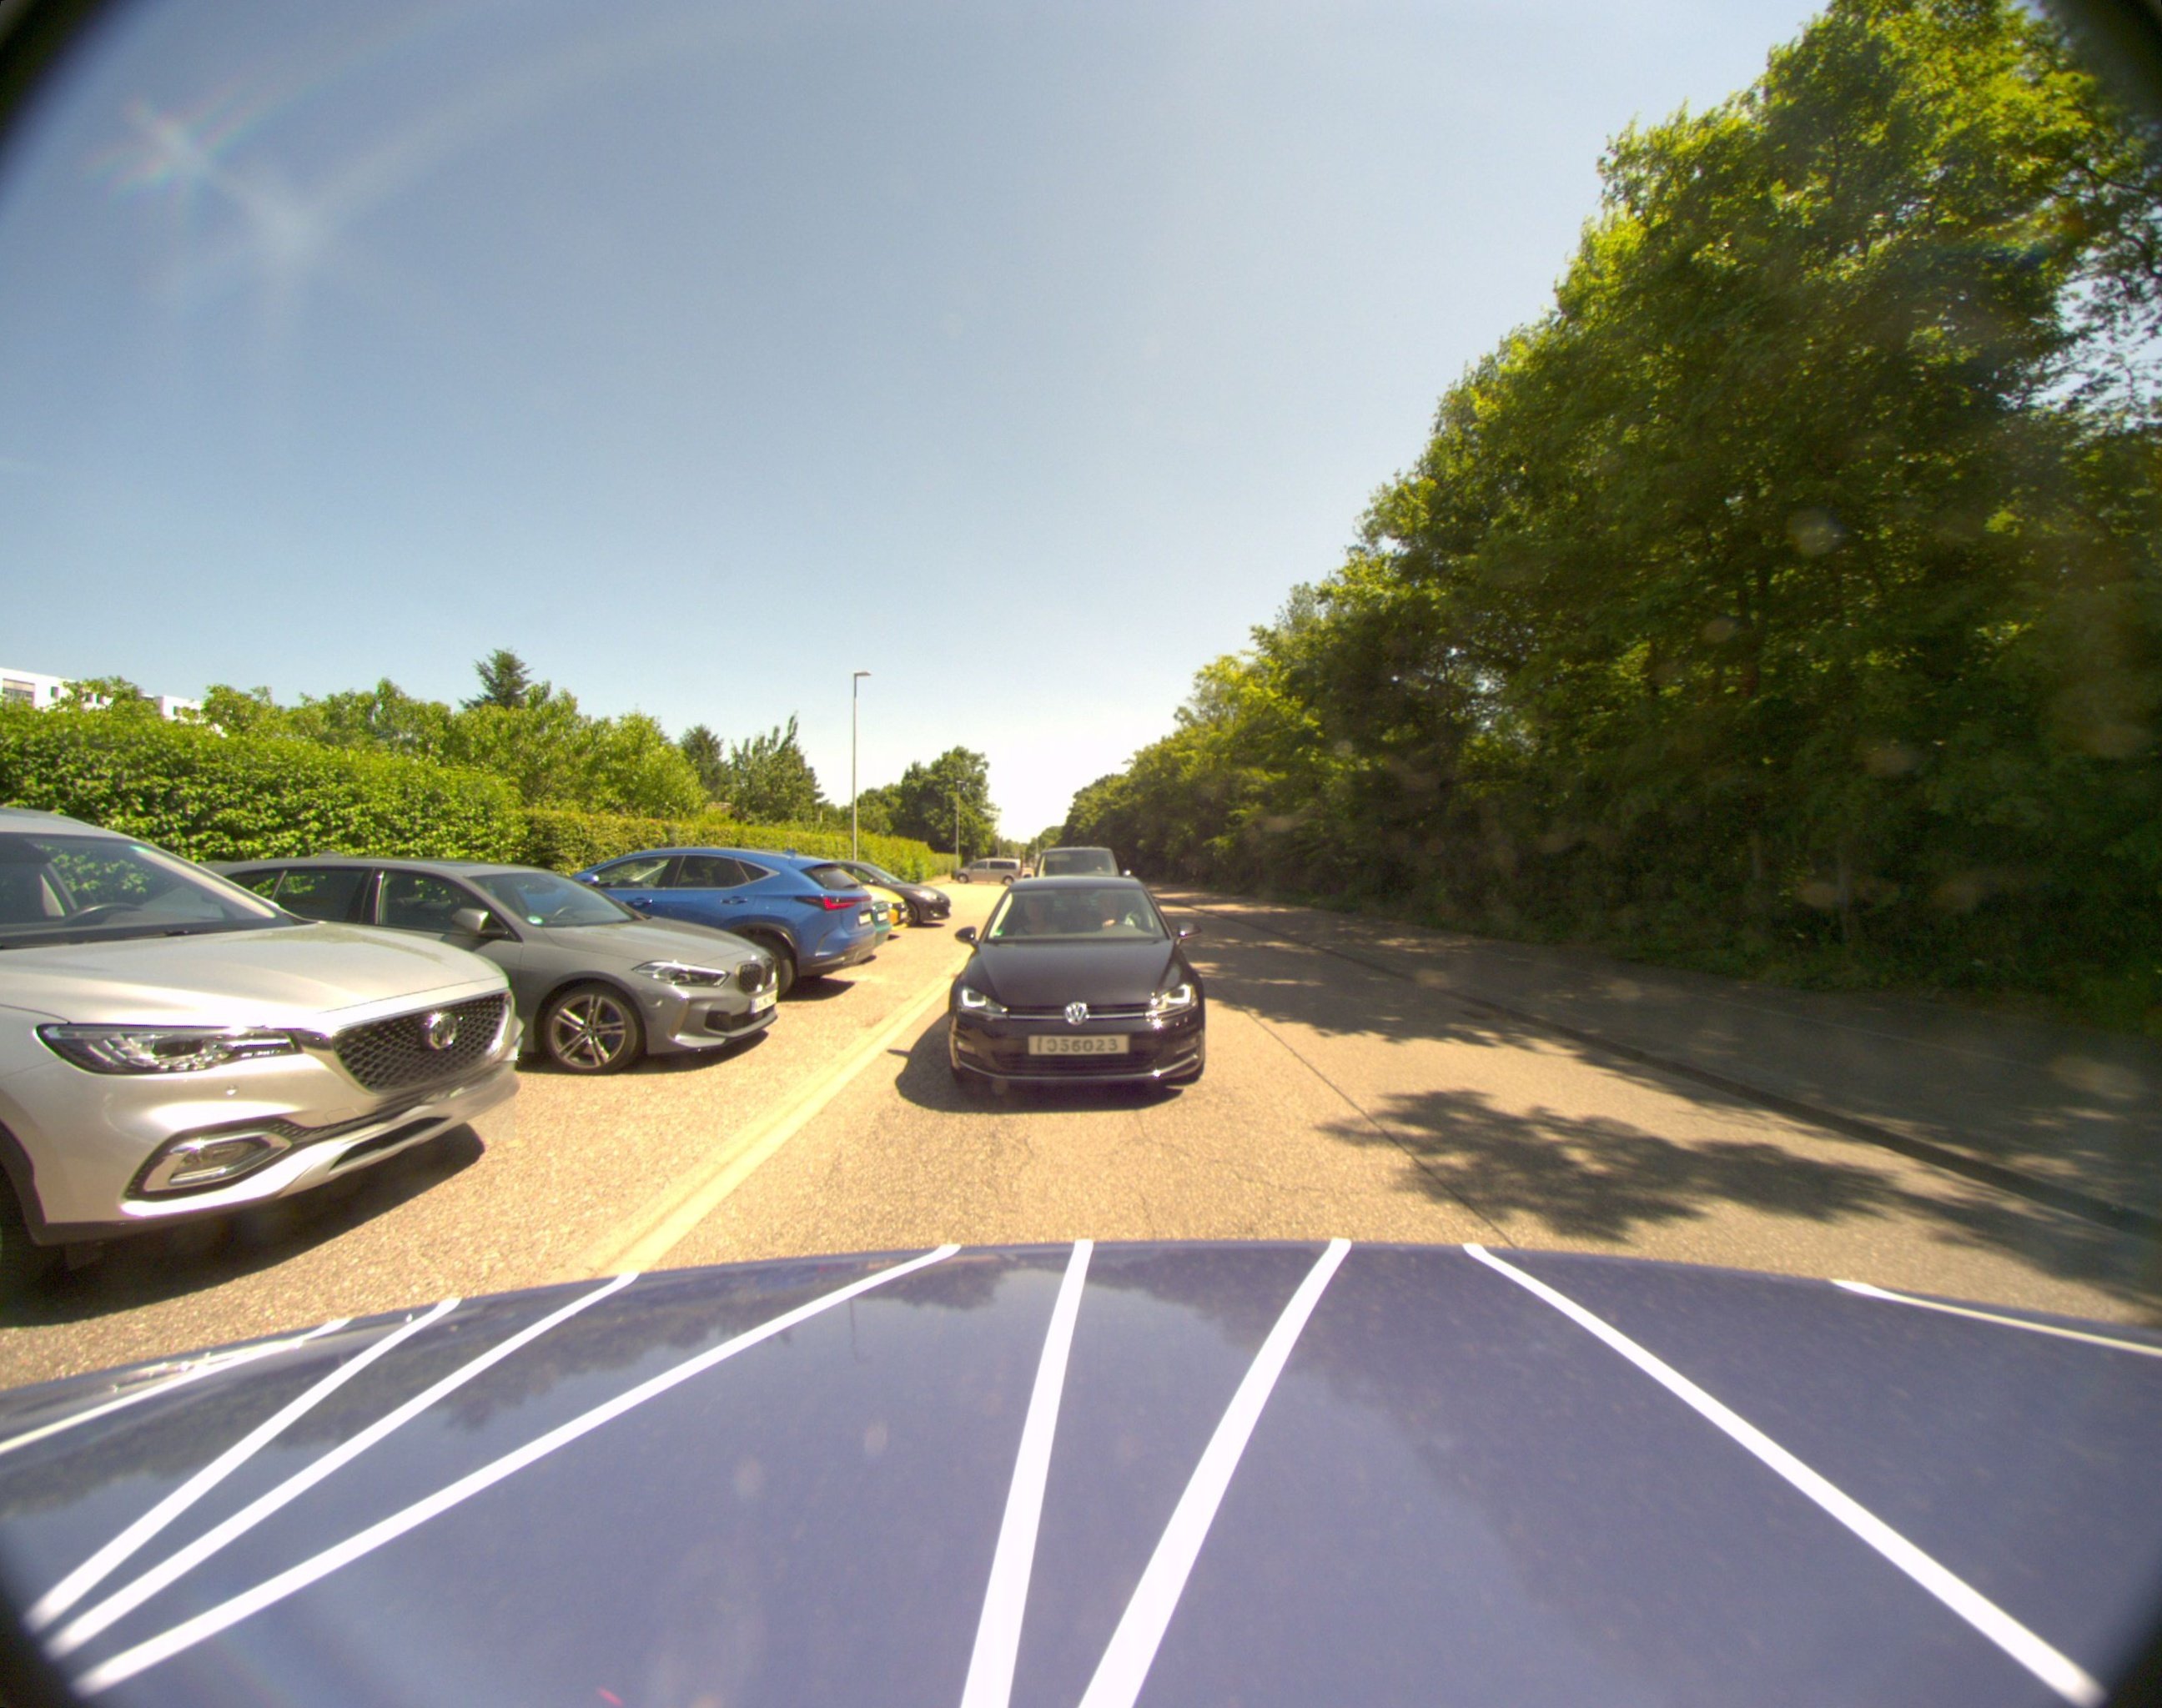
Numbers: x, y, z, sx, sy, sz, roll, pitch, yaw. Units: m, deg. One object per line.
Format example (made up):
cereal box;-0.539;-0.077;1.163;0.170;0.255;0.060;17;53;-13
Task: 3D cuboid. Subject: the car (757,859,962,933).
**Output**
car;-5.098;0.952;17.858;4.251;1.410;1.649;3;0;0

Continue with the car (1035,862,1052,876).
car;-4.074;1.587;82.649;1.744;1.396;4.386;1;0;-4

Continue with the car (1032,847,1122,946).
car;-0.100;0.853;17.098;1.743;1.904;4.388;-1;0;0

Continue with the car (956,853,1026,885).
car;-6.043;1.011;51.494;4.493;1.840;1.695;3;0;-4

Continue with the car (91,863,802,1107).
car;-4.528;0.885;5.904;4.036;1.401;1.679;3;0;-1

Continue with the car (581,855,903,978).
car;-4.938;0.879;11.459;4.036;1.505;1.649;3;0;0

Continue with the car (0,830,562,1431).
car;-4.799;0.729;3.000;4.170;1.632;1.775;3;0;-2

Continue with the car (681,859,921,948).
car;-5.384;0.927;14.949;4.036;1.438;1.649;3;0;0

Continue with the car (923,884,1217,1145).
car;-0.081;1.046;6.733;1.743;1.396;4.388;-1;0;0

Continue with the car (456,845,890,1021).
car;-4.494;0.829;8.801;4.036;1.632;1.674;3;0;0
